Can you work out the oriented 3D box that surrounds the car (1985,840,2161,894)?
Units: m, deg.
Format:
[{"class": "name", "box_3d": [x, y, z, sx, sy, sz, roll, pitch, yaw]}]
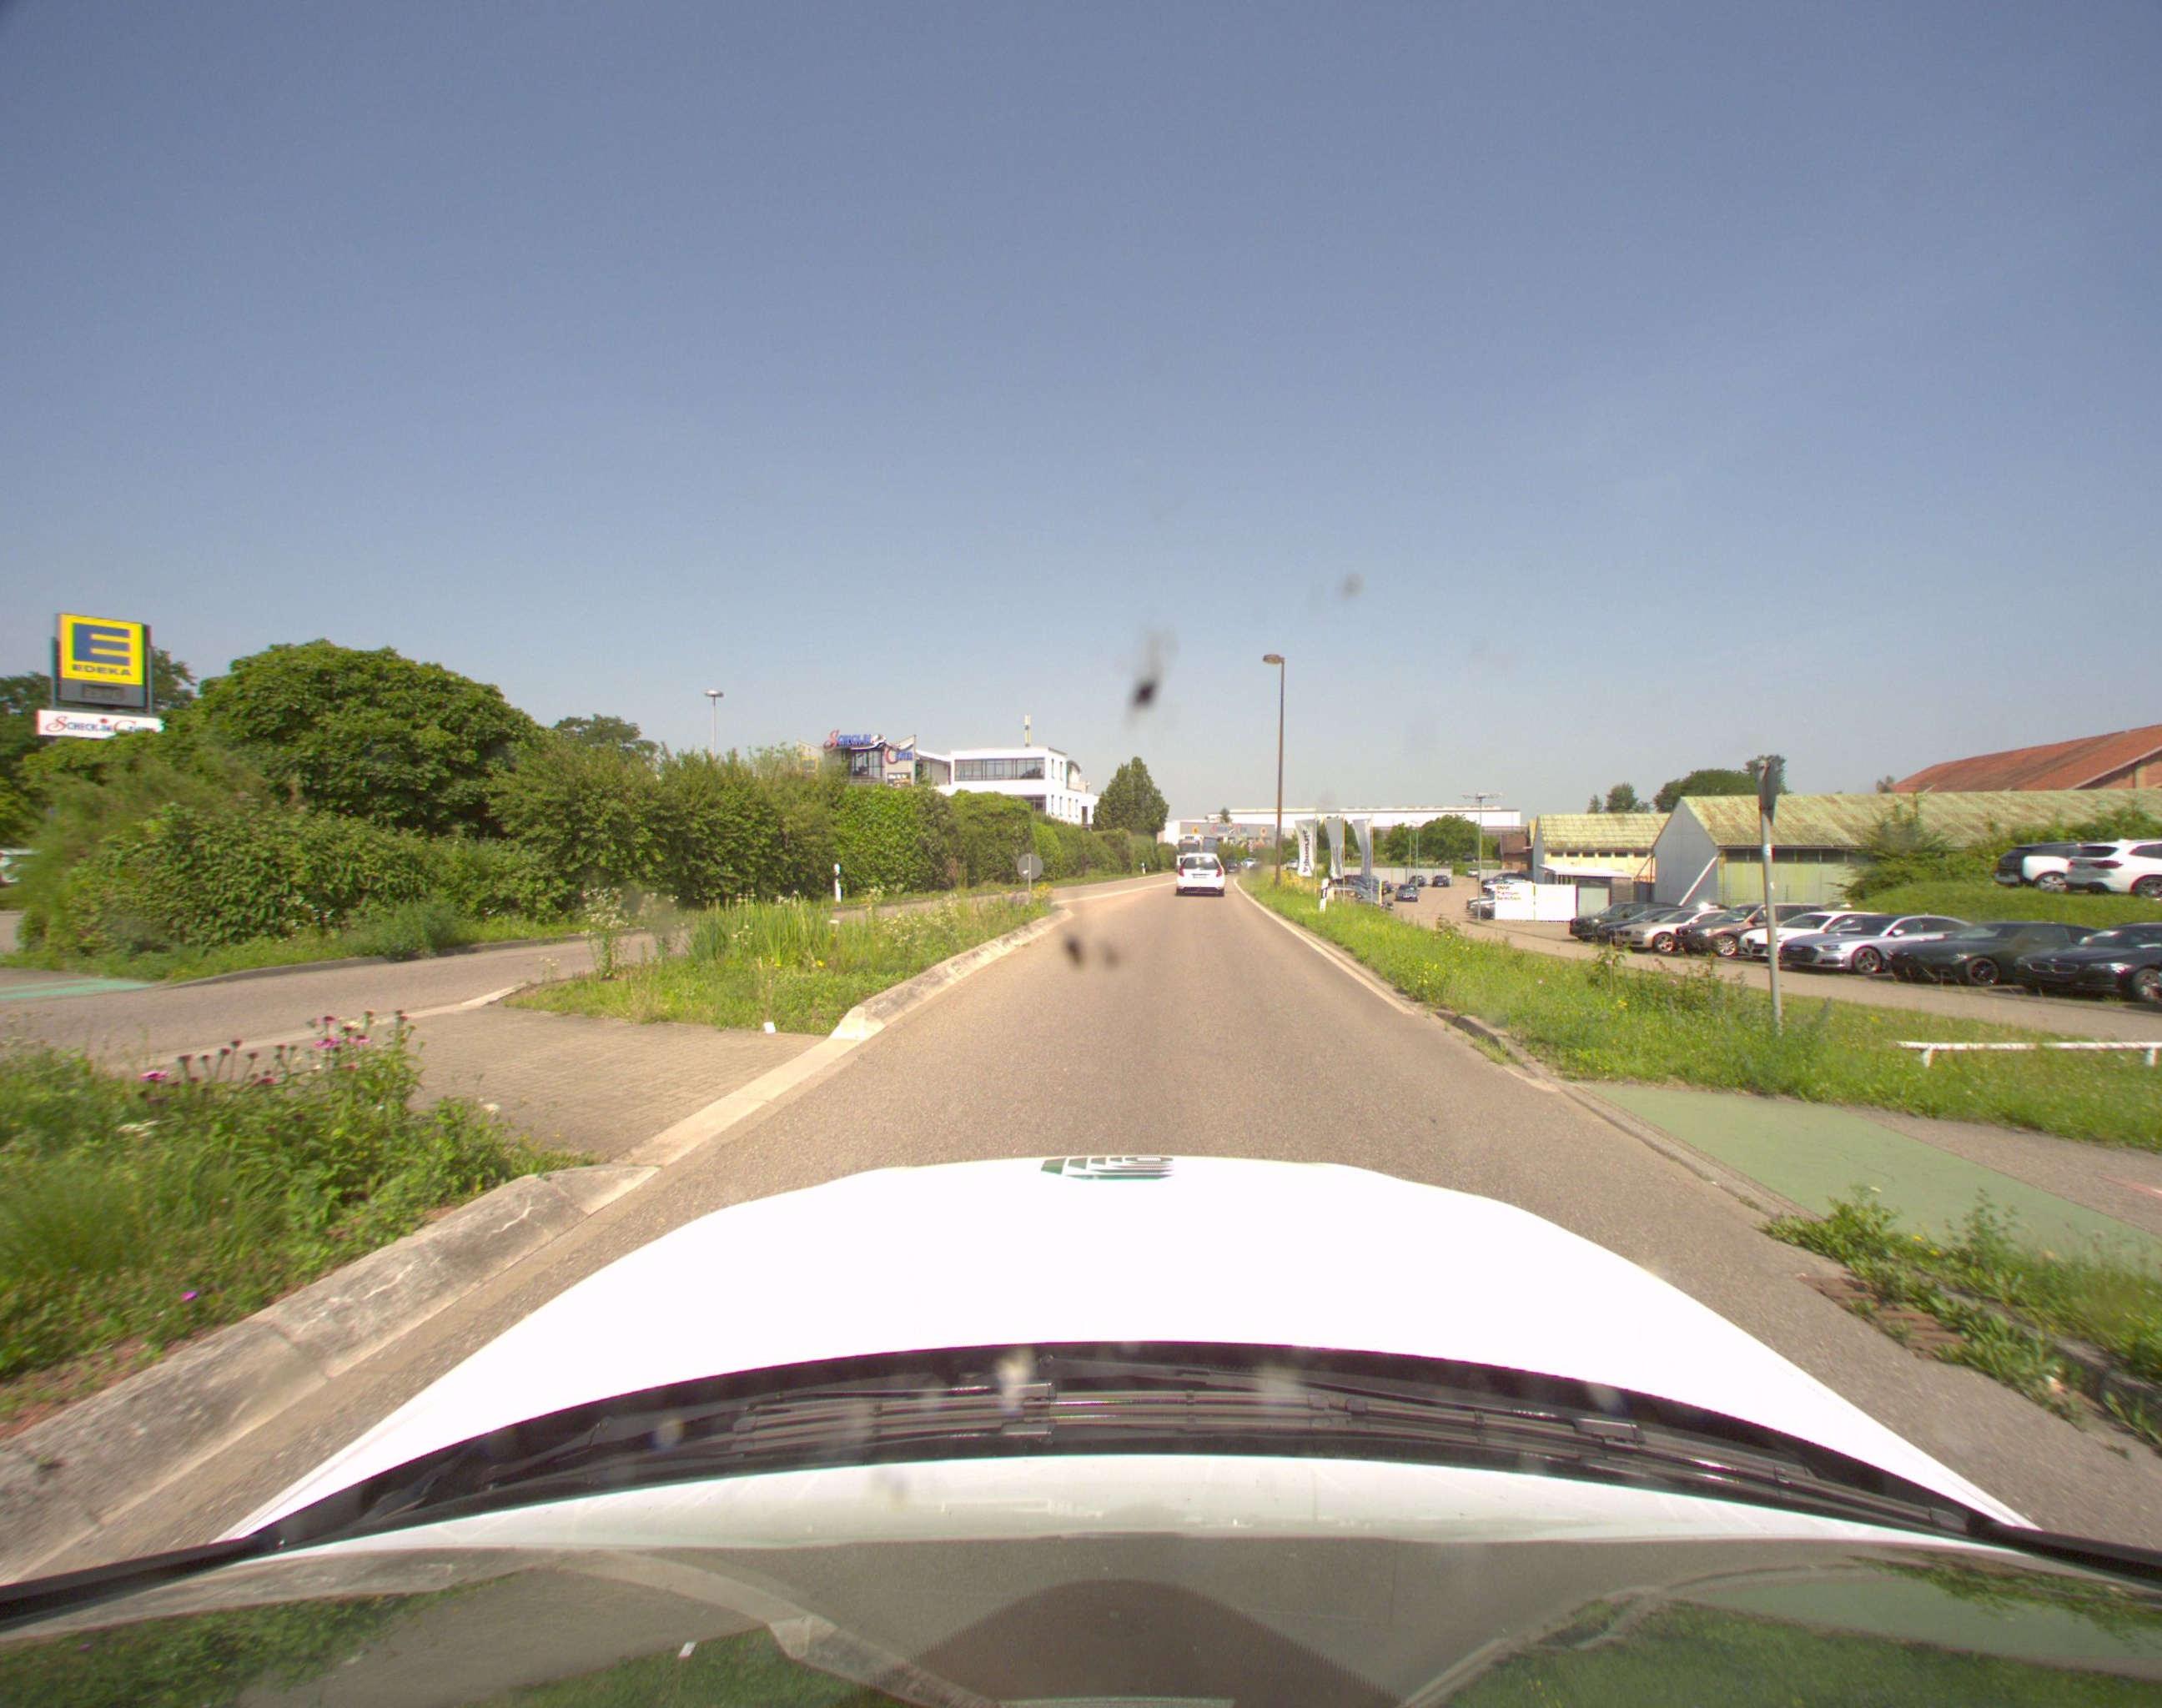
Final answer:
[{"class": "car", "box_3d": [30.010, 0.369, 24.198, 3.840, 1.532, 1.778, 0, 0, 24]}]

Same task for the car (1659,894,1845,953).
[{"class": "car", "box_3d": [21.698, 2.238, 26.492, 4.228, 1.748, 2.002, -1, -3, 5]}]

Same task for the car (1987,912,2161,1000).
[{"class": "car", "box_3d": [21.444, 2.003, 16.478, 4.240, 1.482, 1.920, -1, -3, -4]}]

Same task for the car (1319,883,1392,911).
[{"class": "car", "box_3d": [17.836, 2.770, 52.953, 4.120, 1.523, 1.700, 2, 0, 44]}]

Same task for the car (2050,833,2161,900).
[{"class": "car", "box_3d": [29.561, 0.329, 21.732, 4.413, 1.747, 1.849, 0, 0, 24]}]

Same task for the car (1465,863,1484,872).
[{"class": "car", "box_3d": [59.720, 2.053, 123.607, 1.974, 1.398, 4.025, 2, 0, 36]}]

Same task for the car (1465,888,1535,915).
[{"class": "car", "box_3d": [27.041, 3.058, 52.578, 3.920, 1.523, 1.762, 1, -1, 31]}]

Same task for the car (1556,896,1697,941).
[{"class": "car", "box_3d": [22.650, 2.661, 33.924, 4.465, 1.640, 2.148, 1, -2, 0]}]

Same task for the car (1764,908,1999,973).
[{"class": "car", "box_3d": [21.047, 2.245, 21.536, 4.411, 1.465, 1.920, -1, -3, -4]}]

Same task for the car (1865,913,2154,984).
[{"class": "car", "box_3d": [21.277, 2.147, 18.848, 4.228, 1.413, 1.925, -2, -3, 5]}]

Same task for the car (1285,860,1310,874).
[{"class": "car", "box_3d": [31.446, 1.881, 118.372, 1.975, 2.013, 4.024, 2, 0, 40]}]

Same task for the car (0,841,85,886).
[{"class": "car", "box_3d": [-39.302, 0.303, 29.766, 3.961, 1.516, 1.985, 2, 0, 11]}]

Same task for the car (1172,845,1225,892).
[{"class": "car", "box_3d": [4.516, 0.510, 30.877, 1.770, 1.603, 3.904, 3, 1, 10]}]

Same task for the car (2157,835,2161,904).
[{"class": "car", "box_3d": [29.175, 0.403, 19.102, 4.413, 1.747, 1.849, 0, 0, 24]}]

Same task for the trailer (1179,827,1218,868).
[{"class": "trailer", "box_3d": [13.606, -0.681, 93.174, 2.651, 4.241, 14.621, 2, 0, 14]}]

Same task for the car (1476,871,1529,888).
[{"class": "car", "box_3d": [41.838, 2.524, 80.900, 4.310, 1.523, 1.911, 1, 1, -1]}]

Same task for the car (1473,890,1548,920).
[{"class": "car", "box_3d": [26.005, 3.033, 49.317, 3.755, 1.523, 1.762, 2, 0, 37]}]

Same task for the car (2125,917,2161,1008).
[{"class": "car", "box_3d": [21.322, 1.858, 13.989, 4.549, 1.566, 1.920, -1, -3, -4]}]

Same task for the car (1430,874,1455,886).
[{"class": "car", "box_3d": [43.529, 3.096, 98.086, 1.974, 1.398, 4.025, 2, 0, 36]}]

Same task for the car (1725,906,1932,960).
[{"class": "car", "box_3d": [21.910, 2.306, 24.024, 4.228, 1.465, 1.876, -1, -2, 5]}]

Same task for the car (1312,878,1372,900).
[{"class": "car", "box_3d": [20.995, 2.819, 65.576, 4.119, 1.523, 1.868, 2, 0, 39]}]

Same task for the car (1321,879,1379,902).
[{"class": "car", "box_3d": [24.183, 3.287, 73.416, 4.586, 1.700, 1.867, 2, 2, 44]}]

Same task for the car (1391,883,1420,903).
[{"class": "car", "box_3d": [28.221, 3.381, 70.707, 2.116, 1.457, 4.557, 2, 0, 24]}]

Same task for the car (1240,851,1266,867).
[{"class": "car", "box_3d": [23.116, 0.689, 109.494, 1.974, 2.013, 4.025, 2, 0, 34]}]

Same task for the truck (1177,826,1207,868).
[{"class": "truck", "box_3d": [11.711, -0.731, 85.623, 2.496, 4.257, 6.134, 0, 0, 13]}]

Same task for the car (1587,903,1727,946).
[{"class": "car", "box_3d": [22.195, 2.688, 31.495, 3.973, 1.552, 2.000, 0, -2, 0]}]

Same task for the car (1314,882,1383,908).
[{"class": "car", "box_3d": [18.435, 2.827, 56.264, 4.119, 1.523, 1.762, 2, 0, 39]}]

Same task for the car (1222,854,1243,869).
[{"class": "car", "box_3d": [15.580, 0.732, 83.620, 1.815, 1.470, 4.427, 2, 0, 15]}]

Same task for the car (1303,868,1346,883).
[{"class": "car", "box_3d": [29.025, 2.560, 97.181, 4.584, 1.605, 1.868, 2, 0, 39]}]

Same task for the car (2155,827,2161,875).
[{"class": "car", "box_3d": [35.911, -0.078, 24.952, 1.899, 1.596, 4.329, 0, 0, 26]}]

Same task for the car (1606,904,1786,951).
[{"class": "car", "box_3d": [21.756, 2.586, 28.972, 4.744, 1.508, 2.002, -1, -2, 5]}]
